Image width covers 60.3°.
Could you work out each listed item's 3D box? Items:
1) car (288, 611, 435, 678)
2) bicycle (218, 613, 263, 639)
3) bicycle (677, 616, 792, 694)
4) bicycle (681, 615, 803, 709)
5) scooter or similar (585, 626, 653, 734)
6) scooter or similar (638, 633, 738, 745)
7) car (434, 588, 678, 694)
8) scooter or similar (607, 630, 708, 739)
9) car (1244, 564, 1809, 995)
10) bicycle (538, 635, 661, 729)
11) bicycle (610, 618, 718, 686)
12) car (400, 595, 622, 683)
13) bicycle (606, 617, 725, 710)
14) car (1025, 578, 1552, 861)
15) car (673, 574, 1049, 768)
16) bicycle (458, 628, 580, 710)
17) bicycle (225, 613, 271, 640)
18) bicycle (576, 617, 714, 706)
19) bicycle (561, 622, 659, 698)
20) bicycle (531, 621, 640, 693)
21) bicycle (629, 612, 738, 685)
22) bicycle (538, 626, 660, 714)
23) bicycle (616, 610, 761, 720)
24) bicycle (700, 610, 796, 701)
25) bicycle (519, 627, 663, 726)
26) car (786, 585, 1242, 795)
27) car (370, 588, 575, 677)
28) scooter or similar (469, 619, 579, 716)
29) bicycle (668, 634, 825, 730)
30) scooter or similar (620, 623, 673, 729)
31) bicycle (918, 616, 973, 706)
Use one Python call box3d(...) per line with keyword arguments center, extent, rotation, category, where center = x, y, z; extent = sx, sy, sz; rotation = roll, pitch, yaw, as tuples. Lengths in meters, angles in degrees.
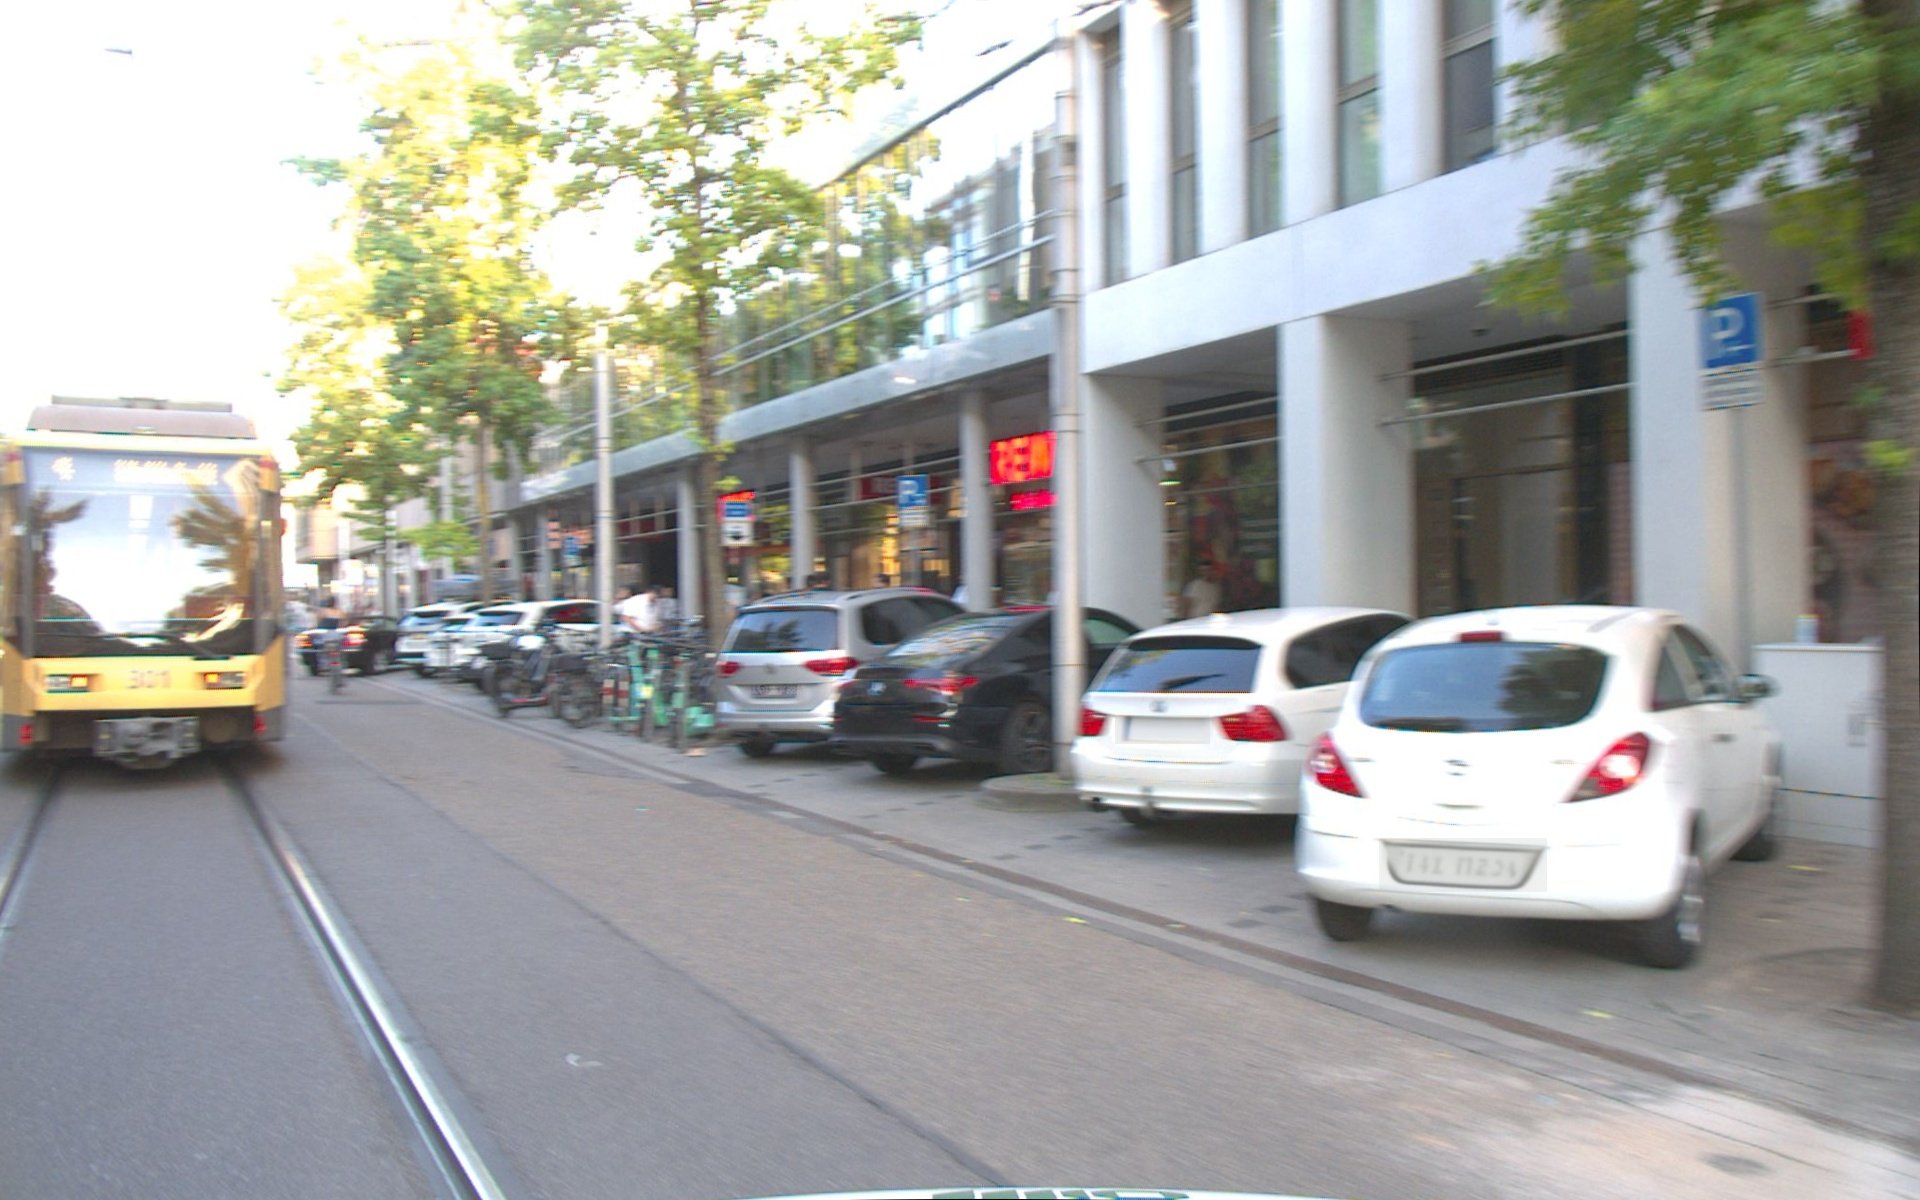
box3d(center=(-14.052, 1.005, 39.115), extent=(1.764, 1.372, 4.447), rotation=(-1, 1, 1), category="car")
box3d(center=(-41.741, 1.493, 95.957), extent=(2.305, 1.497, 0.782), rotation=(0, -1, -32), category="bicycle")
box3d(center=(-3.546, 0.851, 26.159), extent=(0.806, 1.113, 1.829), rotation=(-1, 1, 31), category="bicycle")
box3d(center=(-3.026, 0.845, 23.080), extent=(1.682, 1.169, 0.494), rotation=(-4, 2, -43), category="bicycle")
box3d(center=(-4.202, 0.961, 20.320), extent=(0.476, 1.243, 1.204), rotation=(-3, 1, -26), category="scooter or similar")
box3d(center=(-3.112, 1.002, 19.032), extent=(0.566, 1.170, 1.402), rotation=(-1, 1, 16), category="scooter or similar")
box3d(center=(-7.325, 0.706, 30.429), extent=(1.836, 1.590, 4.337), rotation=(-3, 2, 30), category="car")
box3d(center=(-3.590, 0.984, 19.708), extent=(0.487, 1.202, 1.332), rotation=(-1, 0, 25), category="scooter or similar")
box3d(center=(3.123, 0.688, 8.514), extent=(1.758, 1.527, 4.058), rotation=(-3, 1, 33), category="car")
box3d(center=(-4.755, 1.064, 21.936), extent=(0.483, 1.095, 1.745), rotation=(-1, 2, 32), category="bicycle")
box3d(center=(-5.365, 0.933, 30.060), extent=(0.918, 1.136, 1.742), rotation=(-2, 1, 38), category="bicycle")
box3d(center=(-9.361, 0.793, 34.721), extent=(1.829, 1.483, 4.166), rotation=(-2, 2, 39), category="car")
box3d(center=(-4.105, 0.874, 23.156), extent=(0.470, 1.158, 1.677), rotation=(-1, 2, 42), category="bicycle")
box3d(center=(2.526, 0.695, 11.850), extent=(1.795, 1.447, 4.328), rotation=(-2, 2, 40), category="car")
box3d(center=(-0.884, 0.665, 17.881), extent=(1.911, 1.668, 4.672), rotation=(-2, 1, 27), category="car")
box3d(center=(-6.789, 1.049, 25.516), extent=(0.789, 1.136, 1.746), rotation=(-1, 1, 30), category="bicycle")
box3d(center=(-39.777, 1.471, 92.410), extent=(2.305, 1.497, 0.782), rotation=(0, -1, -32), category="bicycle")
box3d(center=(-4.728, 0.896, 24.954), extent=(0.686, 1.168, 1.987), rotation=(-1, 3, 44), category="bicycle")
box3d(center=(-5.702, 0.968, 27.056), extent=(0.542, 1.051, 1.593), rotation=(-2, 4, 32), category="bicycle")
box3d(center=(-6.507, 0.973, 28.800), extent=(0.898, 1.136, 1.747), rotation=(-2, 1, 28), category="bicycle")
box3d(center=(-4.751, 0.820, 28.489), extent=(0.827, 1.136, 1.787), rotation=(-2, 1, 33), category="bicycle")
box3d(center=(-5.231, 1.001, 24.070), extent=(0.610, 1.094, 1.830), rotation=(-1, 3, 30), category="bicycle")
box3d(center=(-3.584, 0.836, 21.965), extent=(0.669, 1.296, 1.821), rotation=(-1, 2, 44), category="bicycle")
box3d(center=(-3.094, 0.798, 24.268), extent=(0.542, 1.210, 1.695), rotation=(-2, 2, 24), category="bicycle")
box3d(center=(-4.952, 1.004, 22.327), extent=(0.666, 1.149, 1.989), rotation=(-1, 2, 32), category="bicycle")
box3d(center=(0.640, 0.733, 15.371), extent=(1.919, 1.447, 4.328), rotation=(-3, 2, 40), category="car")
box3d(center=(-10.804, 0.687, 36.952), extent=(1.879, 1.666, 4.200), rotation=(-2, 2, 30), category="car")
box3d(center=(-6.239, 0.960, 23.691), extent=(1.361, 1.327, 0.697), rotation=(-1, 1, 24), category="scooter or similar")
box3d(center=(-2.607, 0.989, 20.161), extent=(1.837, 1.095, 0.630), rotation=(-1, 2, 27), category="bicycle")
box3d(center=(-3.944, 0.933, 20.782), extent=(0.558, 1.226, 1.277), rotation=(-3, 1, -13), category="scooter or similar")
box3d(center=(-0.209, 0.802, 22.327), extent=(0.561, 1.102, 1.882), rotation=(-2, 1, -5), category="bicycle")
